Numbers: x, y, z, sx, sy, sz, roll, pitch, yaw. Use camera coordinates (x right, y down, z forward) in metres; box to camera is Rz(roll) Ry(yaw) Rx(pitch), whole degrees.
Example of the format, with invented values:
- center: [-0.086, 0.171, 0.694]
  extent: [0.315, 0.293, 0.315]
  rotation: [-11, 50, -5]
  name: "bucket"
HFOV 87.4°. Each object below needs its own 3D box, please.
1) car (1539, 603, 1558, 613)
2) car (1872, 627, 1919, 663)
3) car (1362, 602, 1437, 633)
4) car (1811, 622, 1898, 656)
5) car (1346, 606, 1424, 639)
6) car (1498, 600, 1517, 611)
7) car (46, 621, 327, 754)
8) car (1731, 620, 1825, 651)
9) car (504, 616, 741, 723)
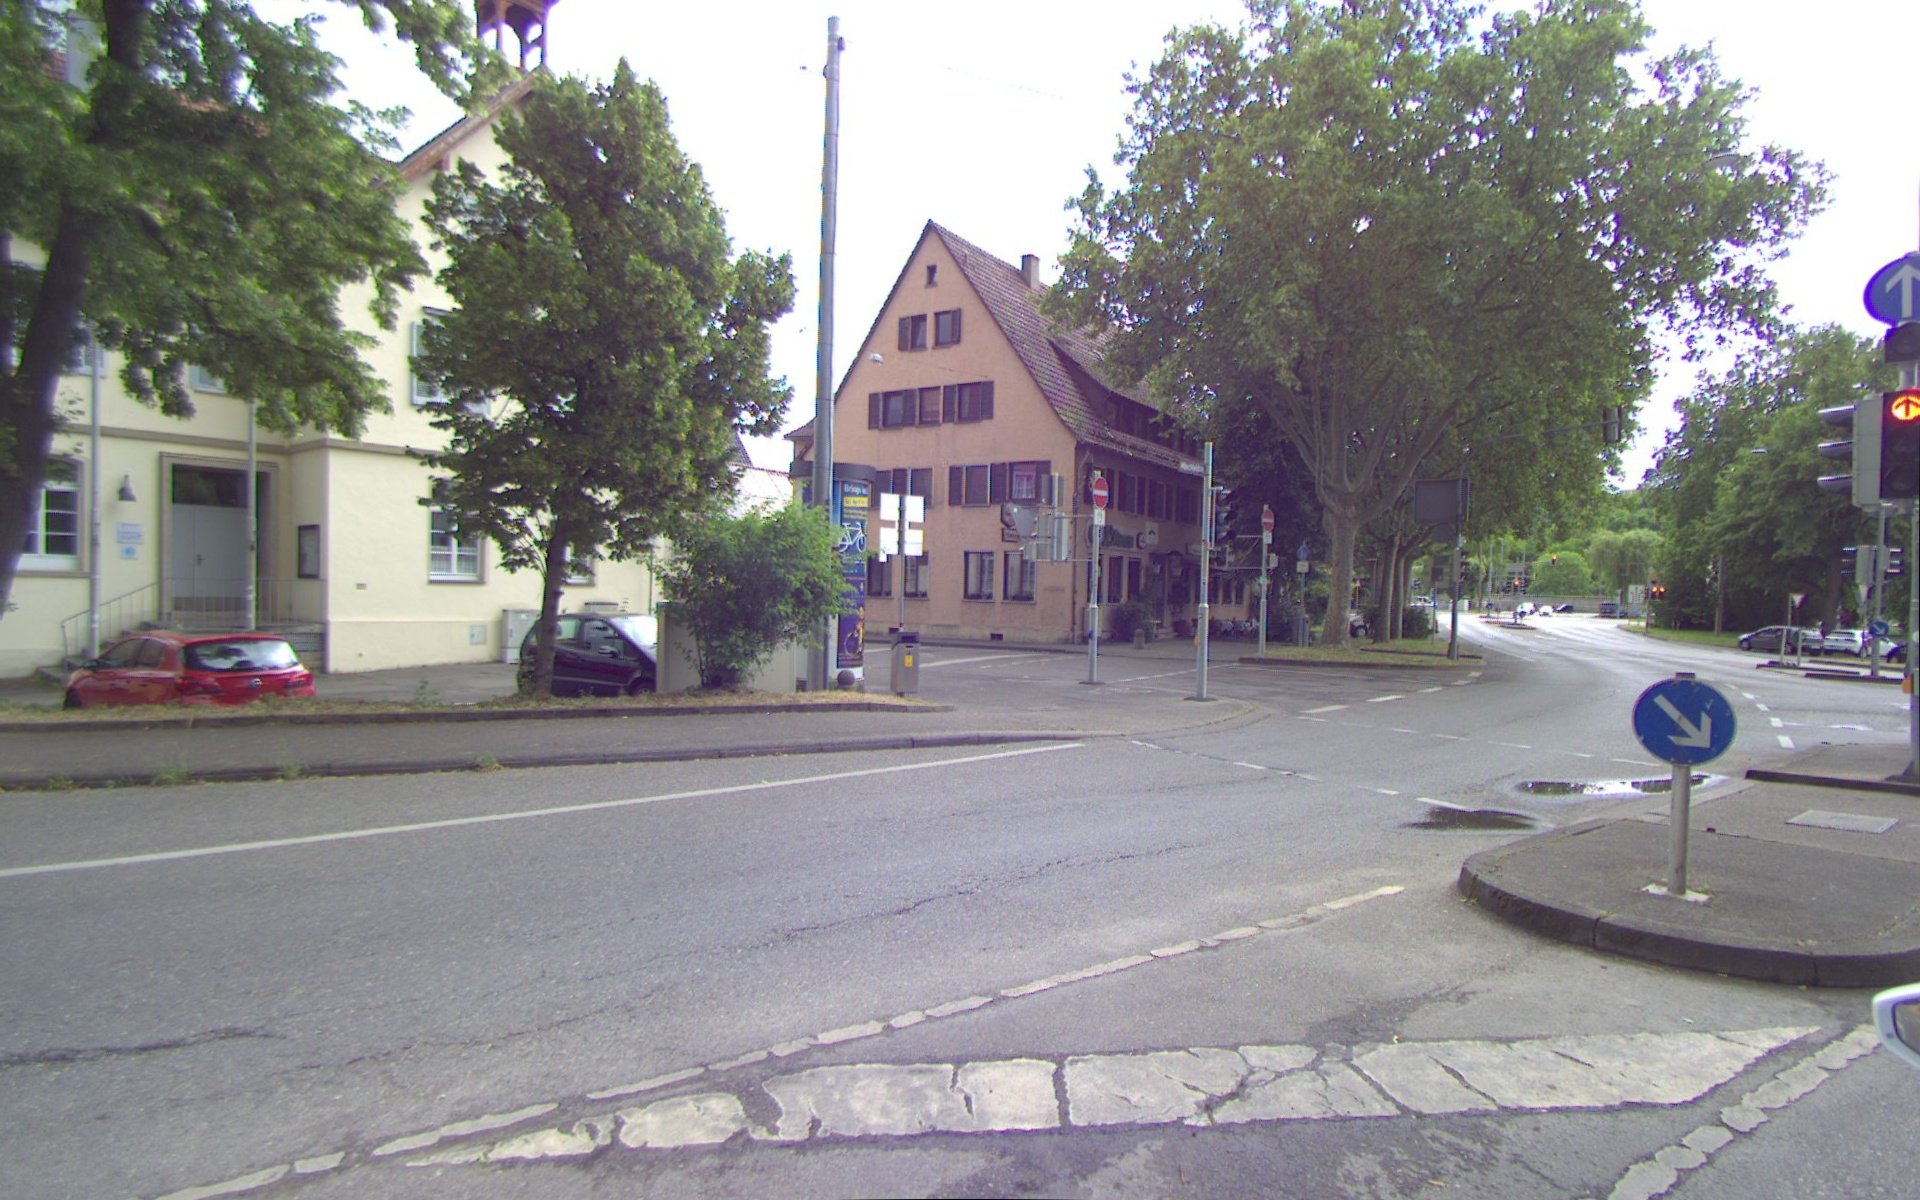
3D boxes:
- center: [90.986, 1.230, 155.335]
  extent: [1.469, 1.436, 3.028]
  rotation: [3, 0, 11]
  name: "car"
- center: [39.449, 1.861, 40.764]
  extent: [1.746, 1.370, 3.326]
  rotation: [2, 0, -2]
  name: "car"
- center: [25.731, 1.010, 58.783]
  extent: [3.924, 1.706, 1.998]
  rotation: [1, 0, 25]
  name: "car"
- center: [47.464, 2.040, 53.325]
  extent: [3.696, 1.662, 1.859]
  rotation: [2, 0, -19]
  name: "car"
- center: [23.999, 1.254, 56.706]
  extent: [3.924, 1.706, 1.998]
  rotation: [1, 0, 25]
  name: "car"
- center: [85.327, 0.861, 156.574]
  extent: [1.553, 1.506, 3.337]
  rotation: [3, 0, 12]
  name: "car"
- center: [-10.274, 1.051, 13.303]
  extent: [3.653, 1.401, 1.659]
  rotation: [2, 0, 30]
  name: "car"
- center: [43.821, 1.879, 53.906]
  extent: [1.592, 1.485, 3.778]
  rotation: [2, 0, -11]
  name: "car"
- center: [-5.530, 1.055, 16.441]
  extent: [3.507, 1.459, 1.644]
  rotation: [2, 0, 26]
  name: "car"
